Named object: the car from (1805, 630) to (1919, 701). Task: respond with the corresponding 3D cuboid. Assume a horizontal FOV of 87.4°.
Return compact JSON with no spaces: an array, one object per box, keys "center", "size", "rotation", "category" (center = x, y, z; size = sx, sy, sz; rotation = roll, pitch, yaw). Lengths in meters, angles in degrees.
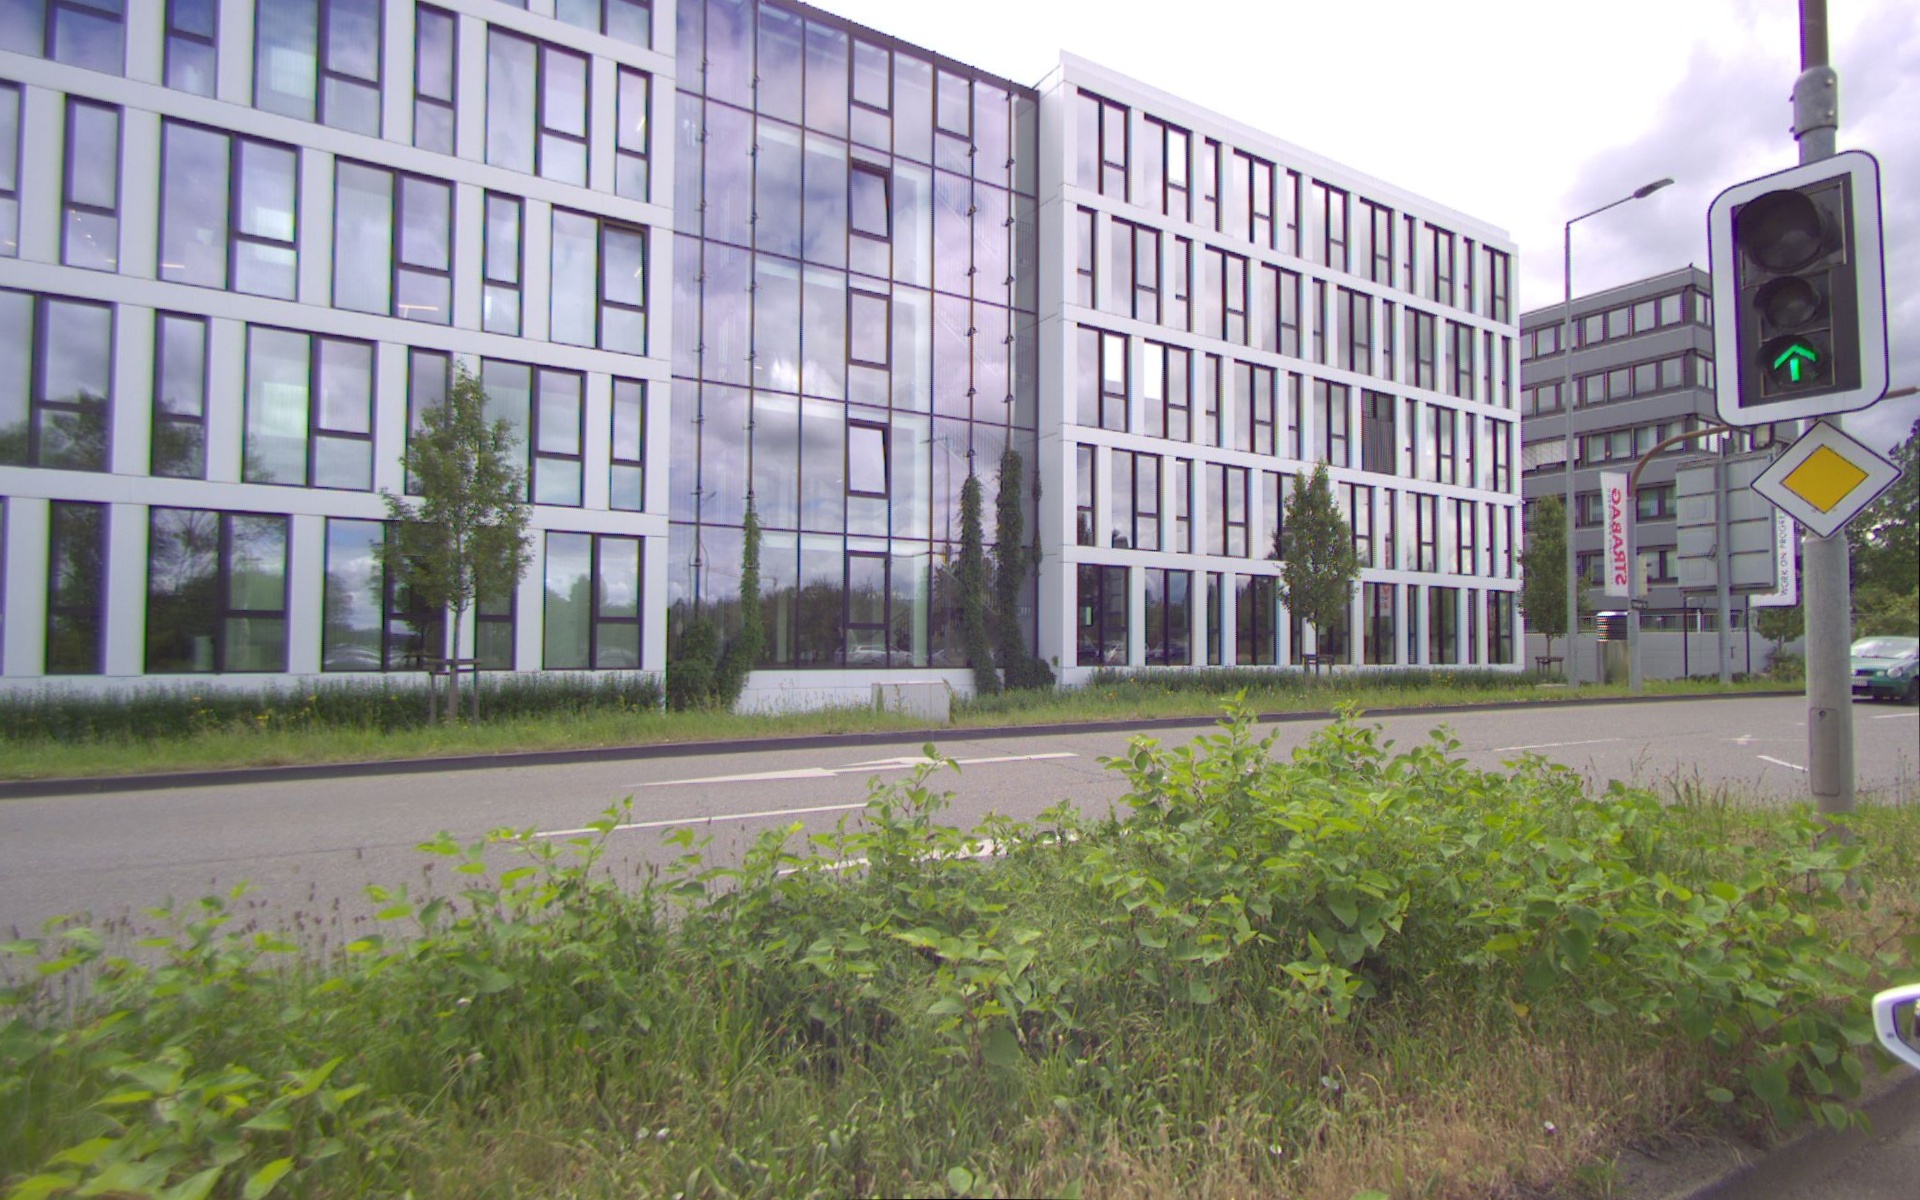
[{"center":[20.685,1.415,22.415],"size":[3.707,1.451,1.599],"rotation":[1,-1,-29],"category":"car"}]
